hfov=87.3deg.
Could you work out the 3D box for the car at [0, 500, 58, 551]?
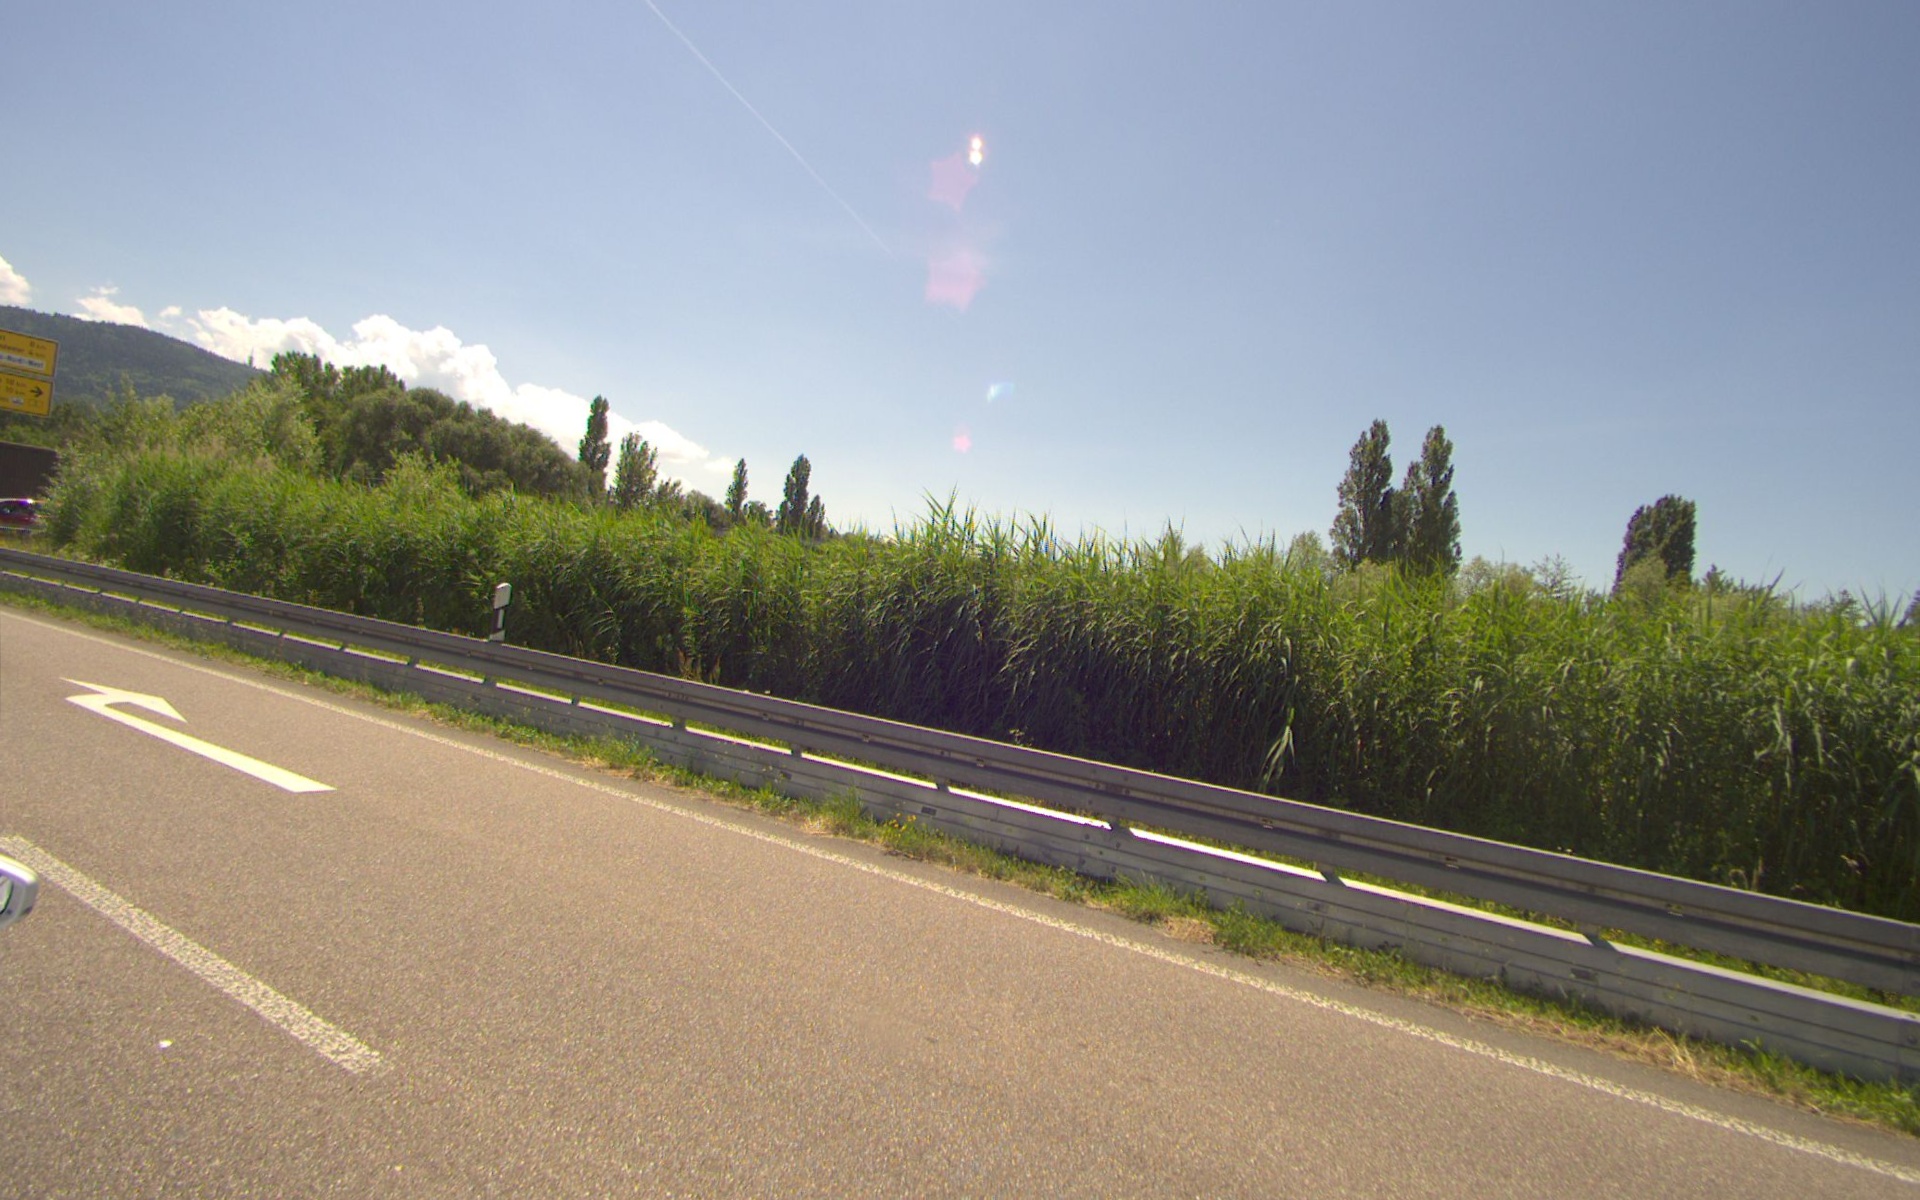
[{"bbox_3d":[-36.337,-2.974,36.897,1.966,1.676,4.320,7,-2,28],"label":"car"}]
